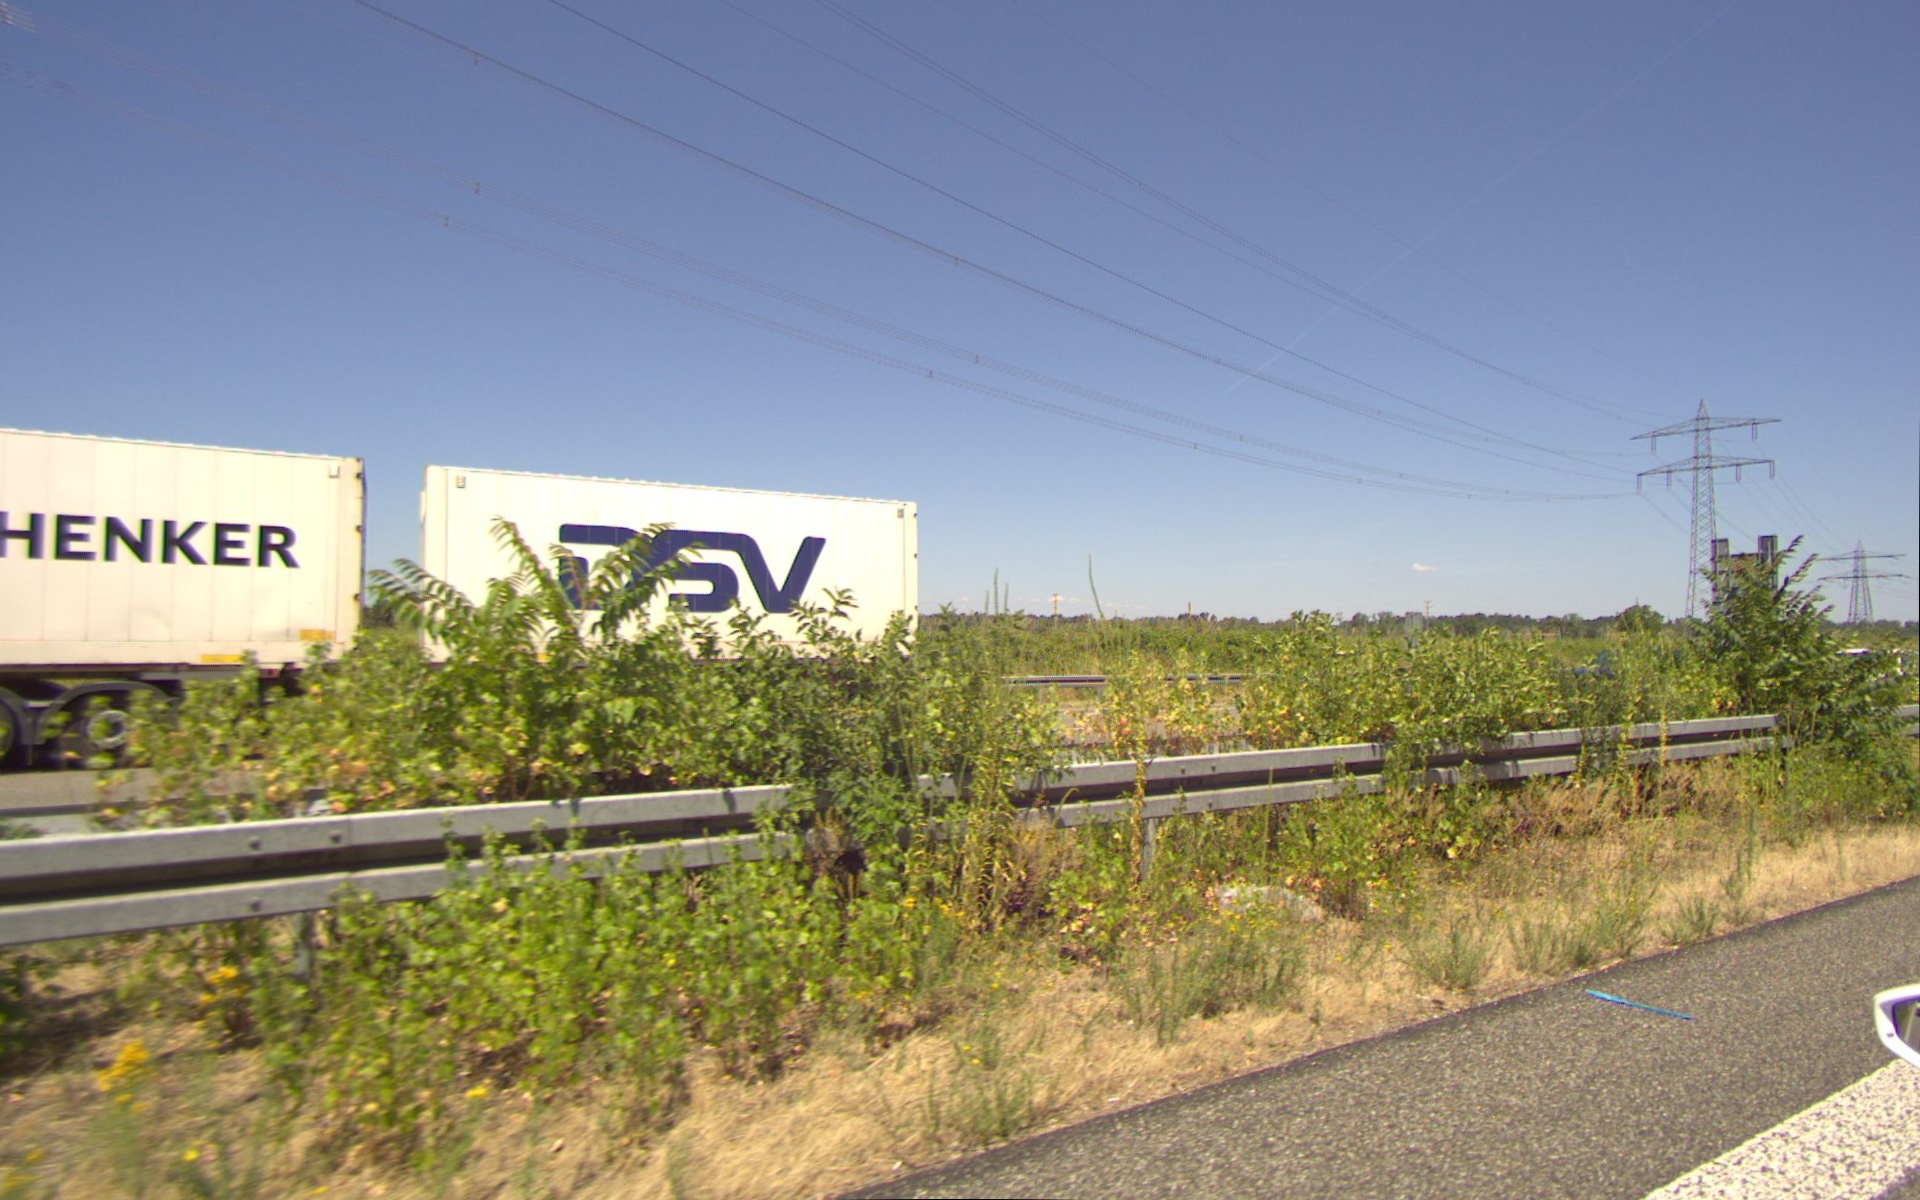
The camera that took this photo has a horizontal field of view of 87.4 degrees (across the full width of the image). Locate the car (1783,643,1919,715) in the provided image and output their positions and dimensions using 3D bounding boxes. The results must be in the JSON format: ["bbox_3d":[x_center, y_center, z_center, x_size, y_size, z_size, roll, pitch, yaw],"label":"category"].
[{"bbox_3d":[20.988,1.753,23.088,4.911,1.510,1.739,2,-2,-32],"label":"car"}]

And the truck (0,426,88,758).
[{"bbox_3d":[-14.424,-0.128,11.067,6.772,3.800,2.821,1,-2,-31],"label":"truck"}]

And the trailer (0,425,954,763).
[{"bbox_3d":[-7.599,0.086,15.183,15.794,3.872,2.840,2,-2,-31],"label":"trailer"}]

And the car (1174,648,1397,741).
[{"bbox_3d":[6.025,1.661,18.498,3.953,1.524,1.753,2,-2,-30],"label":"car"}]
